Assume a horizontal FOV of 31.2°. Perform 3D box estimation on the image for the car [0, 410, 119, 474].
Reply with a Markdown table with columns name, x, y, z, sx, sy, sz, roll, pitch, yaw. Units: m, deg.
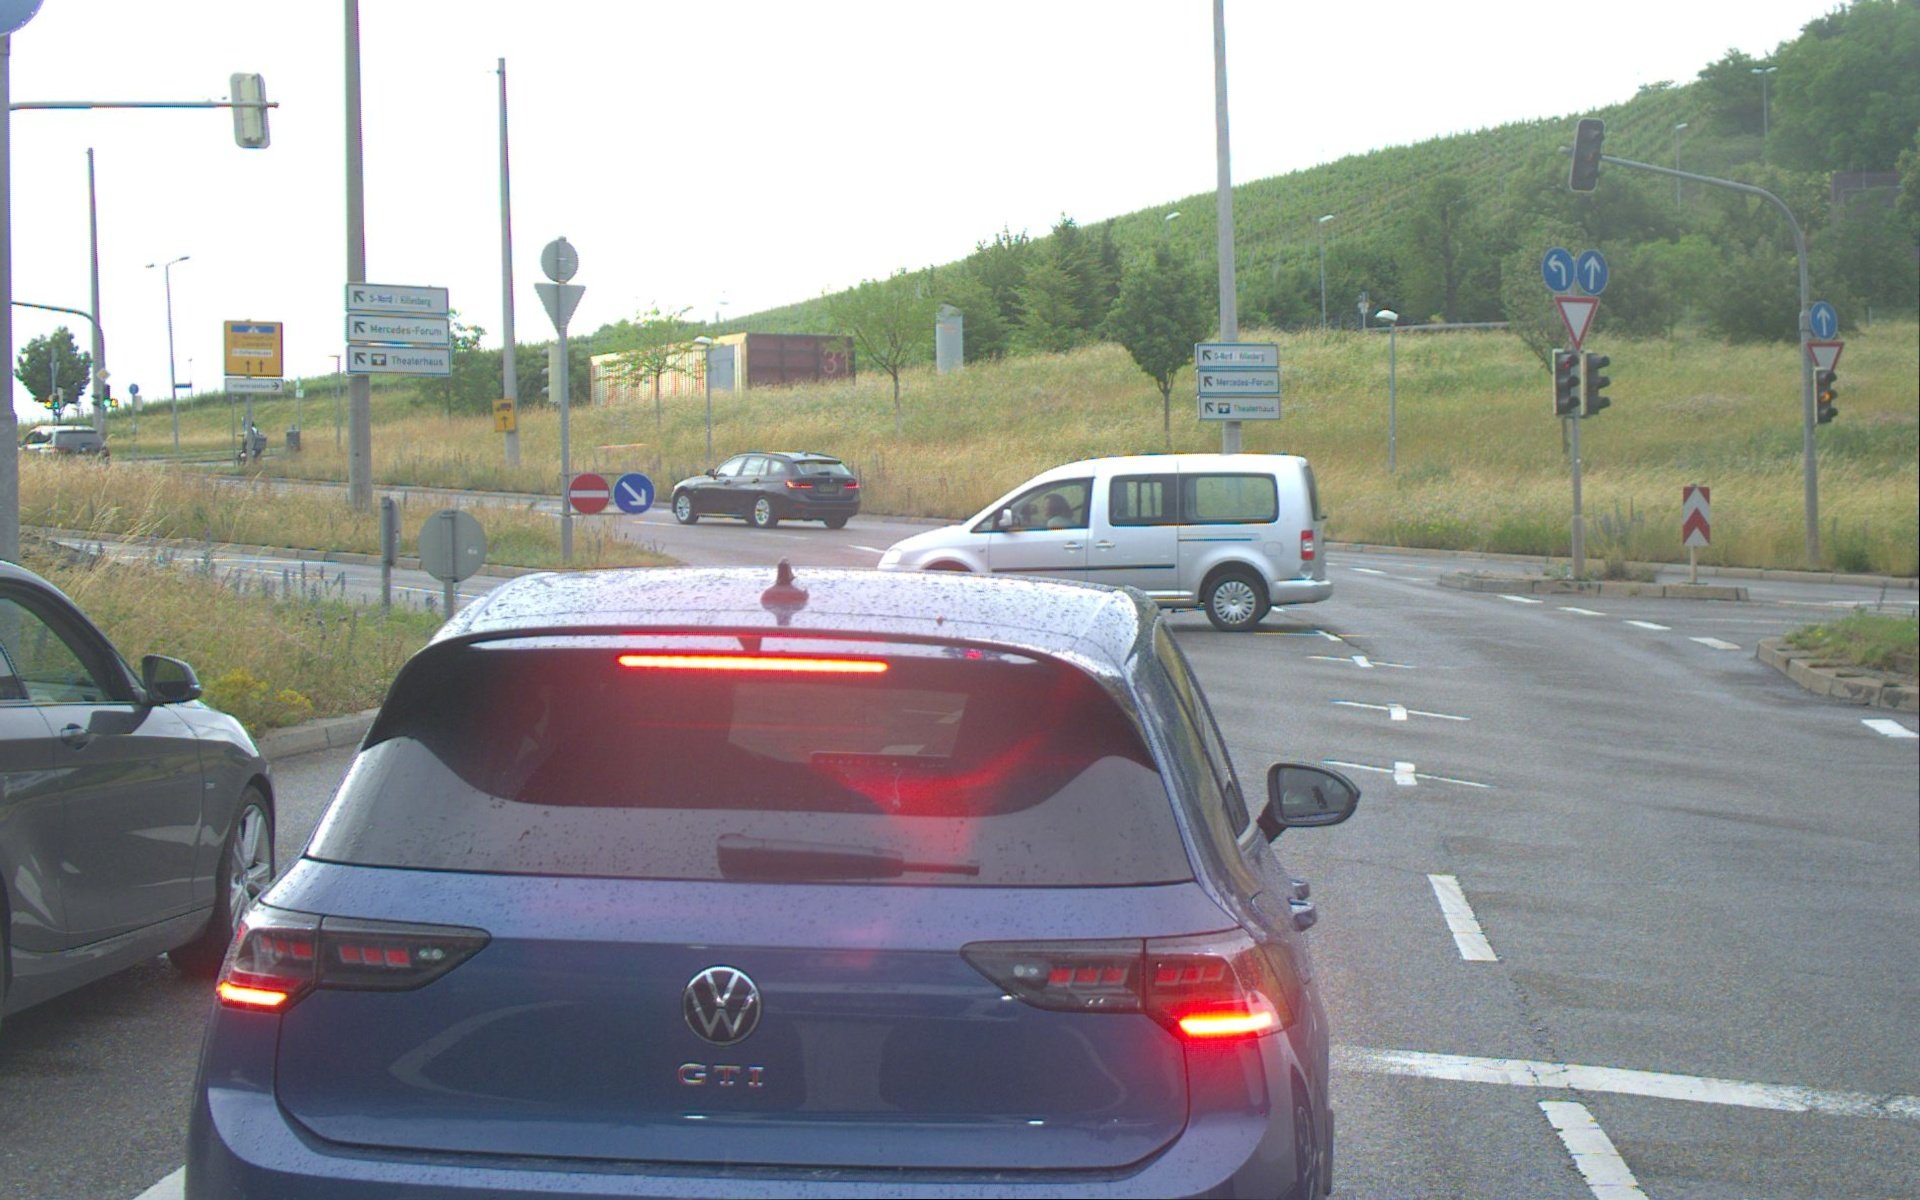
| name | x | y | z | sx | sy | sz | roll | pitch | yaw |
| --- | --- | --- | --- | --- | --- | --- | --- | --- | --- |
| car | -25.492 | -4.416 | 96.663 | 1.994 | 1.631 | 4.420 | 1 | 0 | -37 |

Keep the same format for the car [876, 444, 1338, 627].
| name | x | y | z | sx | sy | sz | roll | pitch | yaw |
| --- | --- | --- | --- | --- | --- | --- | --- | --- | --- |
| car | 1.591 | -0.704 | 36.449 | 4.685 | 1.843 | 1.821 | 1 | 2 | 10 |

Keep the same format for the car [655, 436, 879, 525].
| name | x | y | z | sx | sy | sz | roll | pitch | yaw |
| --- | --- | --- | --- | --- | --- | --- | --- | --- | --- |
| car | -3.777 | -2.311 | 66.445 | 1.994 | 1.612 | 4.851 | 0 | 2 | -36 |

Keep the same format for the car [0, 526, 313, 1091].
| name | x | y | z | sx | sy | sz | roll | pitch | yaw |
| --- | --- | --- | --- | --- | --- | --- | --- | --- | --- |
| car | -3.253 | 0.522 | 9.815 | 1.703 | 1.454 | 4.114 | 0 | 1 | 5 |

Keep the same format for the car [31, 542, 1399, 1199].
| name | x | y | z | sx | sy | sz | roll | pitch | yaw |
| --- | --- | --- | --- | --- | --- | --- | --- | --- | --- |
| car | -0.184 | 0.626 | 6.454 | 1.825 | 1.455 | 3.808 | 0 | 1 | 5 |

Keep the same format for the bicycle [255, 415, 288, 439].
| name | x | y | z | sx | sy | sz | roll | pitch | yaw |
| --- | --- | --- | --- | --- | --- | --- | --- | --- | --- |
| bicycle | -23.850 | -6.001 | 119.135 | 0.518 | 0.772 | 1.621 | 2 | 1 | -33 |

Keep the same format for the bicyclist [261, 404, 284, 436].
| name | x | y | z | sx | sy | sz | roll | pitch | yaw |
| --- | --- | --- | --- | --- | --- | --- | --- | --- | --- |
| bicyclist | -23.811 | -6.234 | 119.080 | 0.523 | 1.043 | 0.580 | 3 | 1 | -33 |
